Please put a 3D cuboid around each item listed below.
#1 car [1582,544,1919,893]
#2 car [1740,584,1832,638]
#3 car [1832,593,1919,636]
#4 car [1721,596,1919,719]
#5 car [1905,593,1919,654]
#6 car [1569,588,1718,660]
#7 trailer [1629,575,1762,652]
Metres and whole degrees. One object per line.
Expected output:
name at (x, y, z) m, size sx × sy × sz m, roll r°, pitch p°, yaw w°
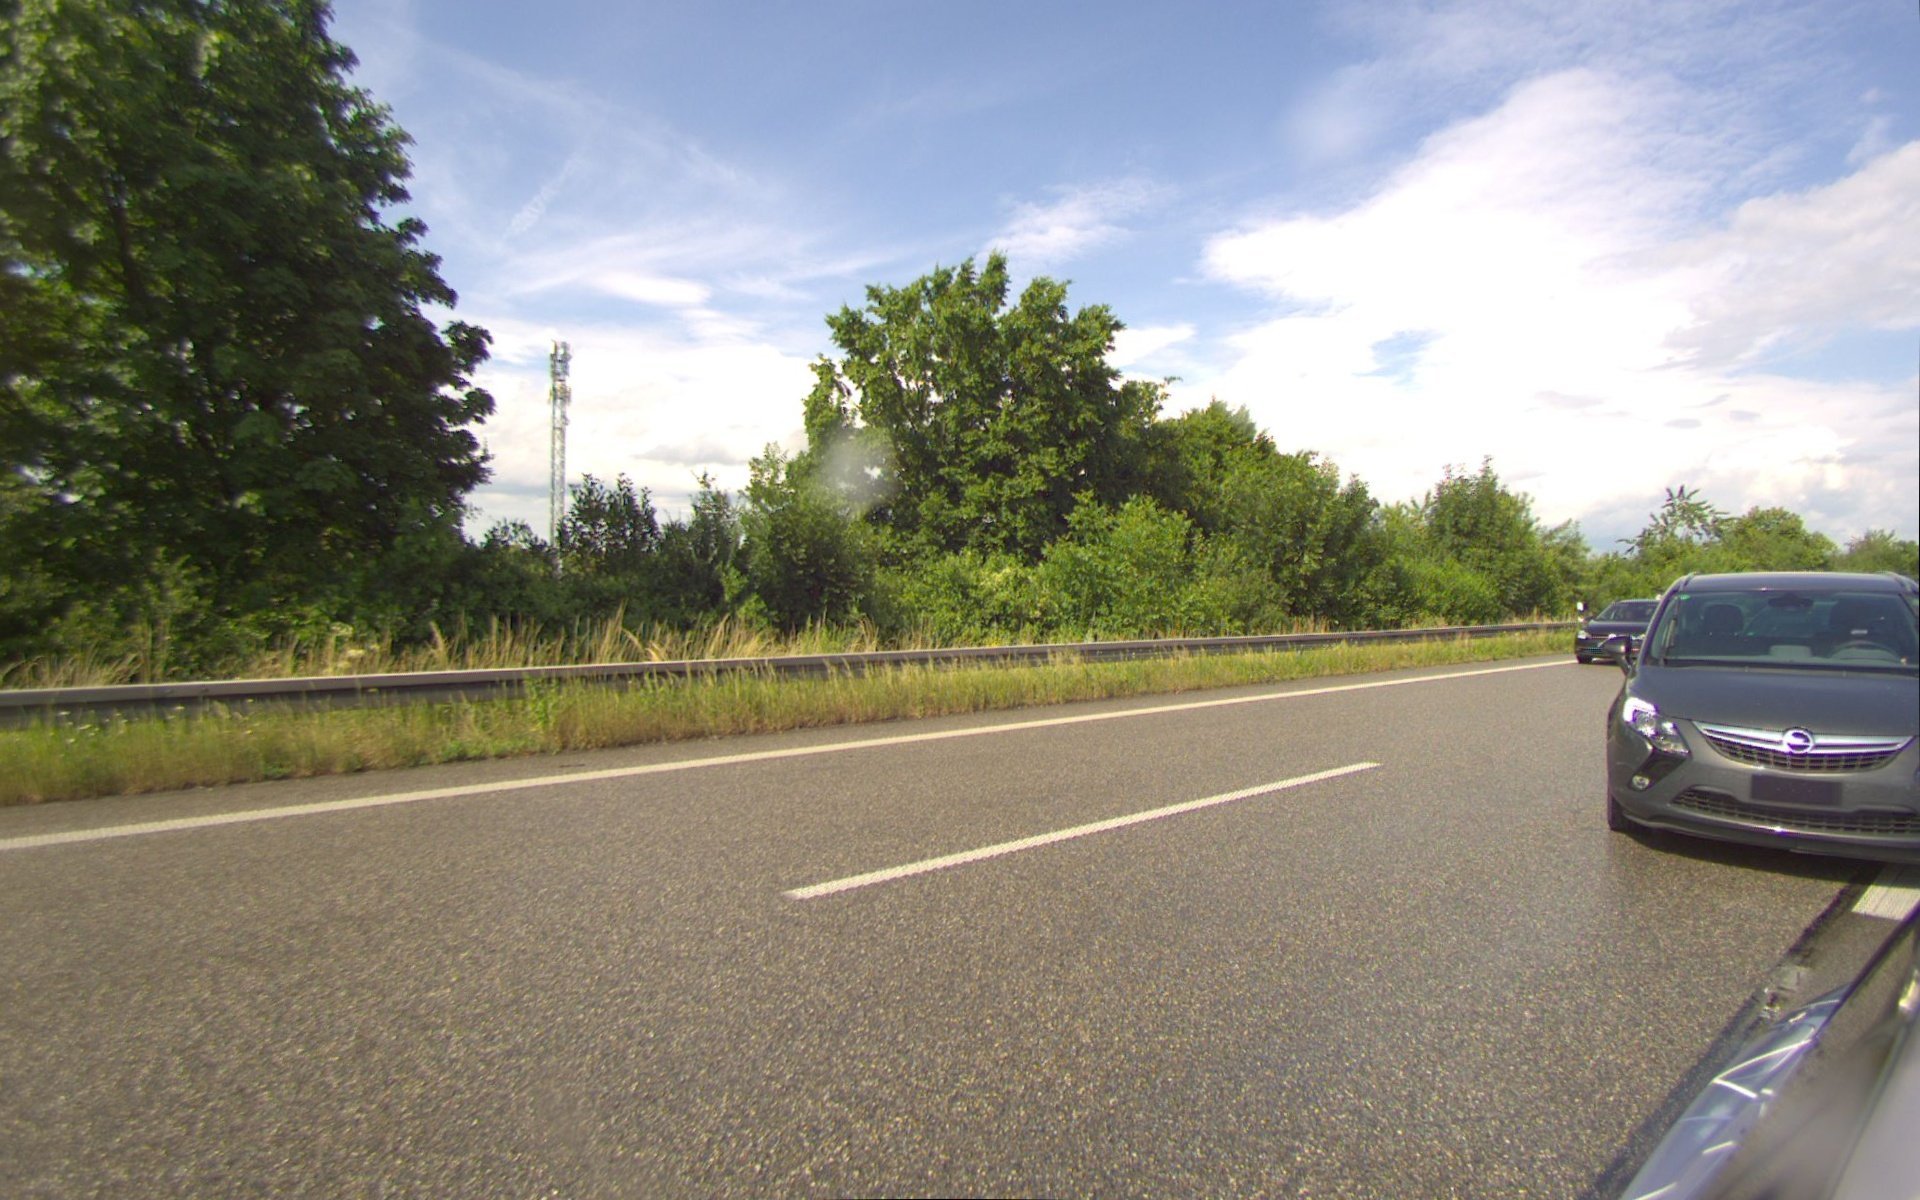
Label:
car at (5.536, 0.542, 6.971) m, size 1.848 × 1.652 × 4.675 m, roll 0°, pitch 1°, yaw 35°
car at (24.323, 0.278, 29.775) m, size 3.422 × 1.507 × 1.614 m, roll -1°, pitch 1°, yaw -42°
car at (32.111, 0.457, 35.434) m, size 4.500 × 1.368 × 1.770 m, roll -1°, pitch 1°, yaw -41°
car at (11.531, 0.641, 13.271) m, size 3.816 × 1.371 × 1.721 m, roll 0°, pitch 0°, yaw -41°
car at (23.776, 0.528, 24.095) m, size 3.935 × 1.382 × 1.740 m, roll 0°, pitch 1°, yaw -45°
car at (15.242, 0.452, 22.488) m, size 4.329 × 1.449 × 1.746 m, roll -1°, pitch 1°, yaw -42°
trailer at (18.366, 0.289, 25.217) m, size 3.898 × 1.768 × 1.809 m, roll 0°, pitch 0°, yaw -41°
